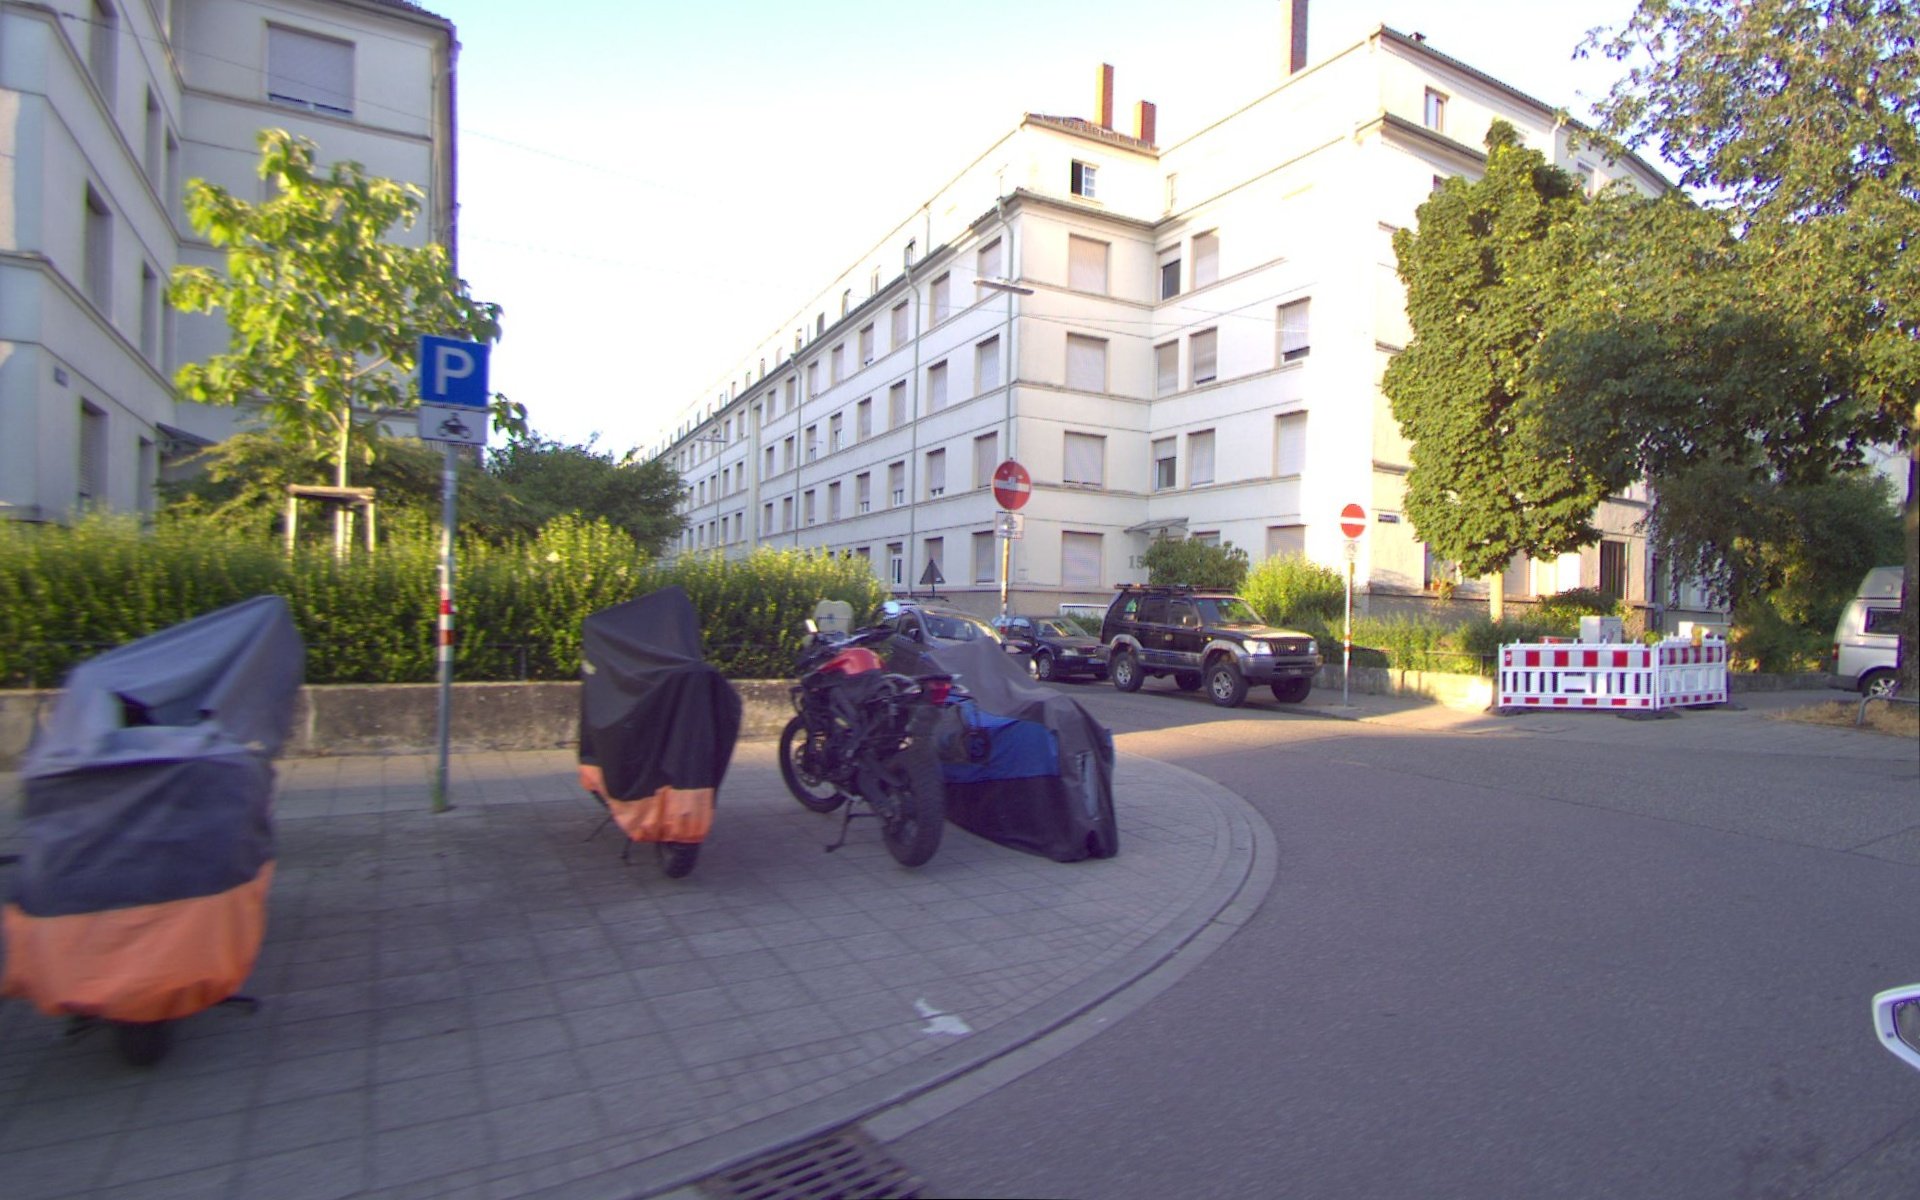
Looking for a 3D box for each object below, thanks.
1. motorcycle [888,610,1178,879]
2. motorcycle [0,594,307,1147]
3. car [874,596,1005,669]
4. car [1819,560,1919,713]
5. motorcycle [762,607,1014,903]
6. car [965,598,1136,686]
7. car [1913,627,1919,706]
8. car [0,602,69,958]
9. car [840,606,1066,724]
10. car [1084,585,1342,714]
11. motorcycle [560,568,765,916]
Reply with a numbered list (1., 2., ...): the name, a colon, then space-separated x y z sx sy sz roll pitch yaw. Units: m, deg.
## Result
1. motorcycle: 0.369 0.824 6.817 0.869 1.455 2.375 2 0 -25
2. motorcycle: -2.825 0.723 3.653 0.714 1.455 1.974 2 0 -33
3. car: -0.652 0.860 27.768 1.976 1.842 3.969 2 0 -29
4. car: 17.595 0.657 16.632 1.976 2.603 4.711 2 0 -29
5. motorcycle: -0.552 0.796 6.205 0.763 1.455 2.224 2 0 -25
6. car: 2.007 0.911 23.300 1.977 1.805 3.966 2 0 -31
7. car: 20.456 1.403 18.579 1.634 1.543 3.782 2 1 -32
8. car: -4.360 0.764 2.934 1.668 1.526 3.700 2 0 -26
9. car: -0.237 0.879 15.070 1.806 1.484 3.748 2 -1 -29
10. car: 4.458 0.801 18.436 1.976 2.040 4.556 2 0 -29
11. motorcycle: -1.804 0.661 5.803 0.763 1.603 2.224 2 0 -25
